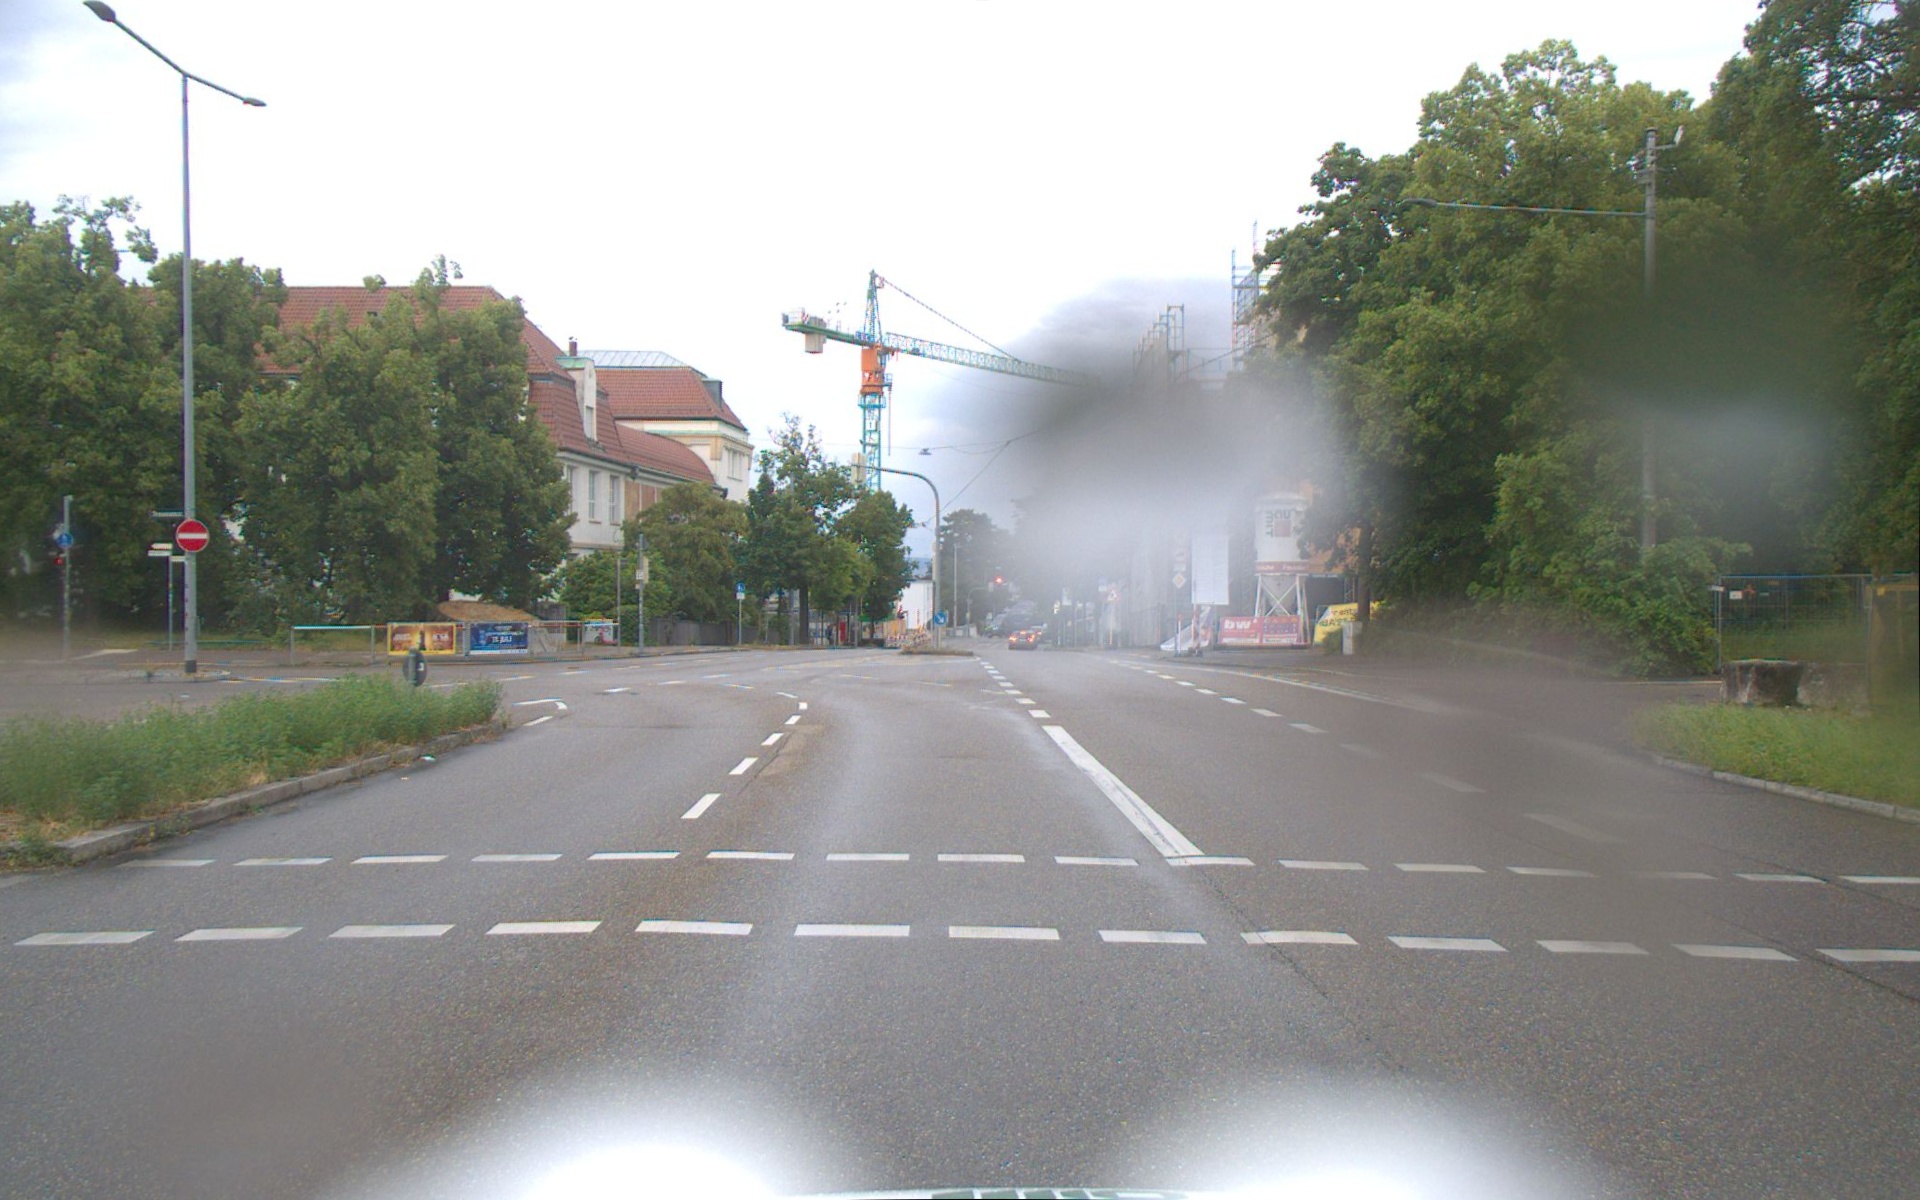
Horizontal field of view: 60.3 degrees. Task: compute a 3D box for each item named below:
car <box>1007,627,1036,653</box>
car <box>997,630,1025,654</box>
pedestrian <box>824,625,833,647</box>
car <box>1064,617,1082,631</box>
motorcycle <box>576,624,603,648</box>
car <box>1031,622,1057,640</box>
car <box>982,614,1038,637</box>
[{"bbox_3d":[4.636,3.004,125.034,1.953,1.780,3.999,-1,0,-1],"label":"car"},{"bbox_3d":[4.048,3.331,131.643,1.953,1.780,3.999,-1,0,-1],"label":"car"},{"bbox_3d":[-10.246,2.810,129.075,0.483,1.674,0.533,1,-1,21],"label":"pedestrian"},{"bbox_3d":[15.035,3.134,219.499,1.951,1.780,4.003,-1,0,10],"label":"car"},{"bbox_3d":[-14.493,1.406,64.732,0.832,0.893,0.877,1,0,-1],"label":"motorcycle"},{"bbox_3d":[8.513,3.138,167.567,1.951,1.780,4.003,-1,0,12],"label":"car"},{"bbox_3d":[5.503,2.829,181.393,2.810,2.445,6.144,1,0,44],"label":"car"}]
